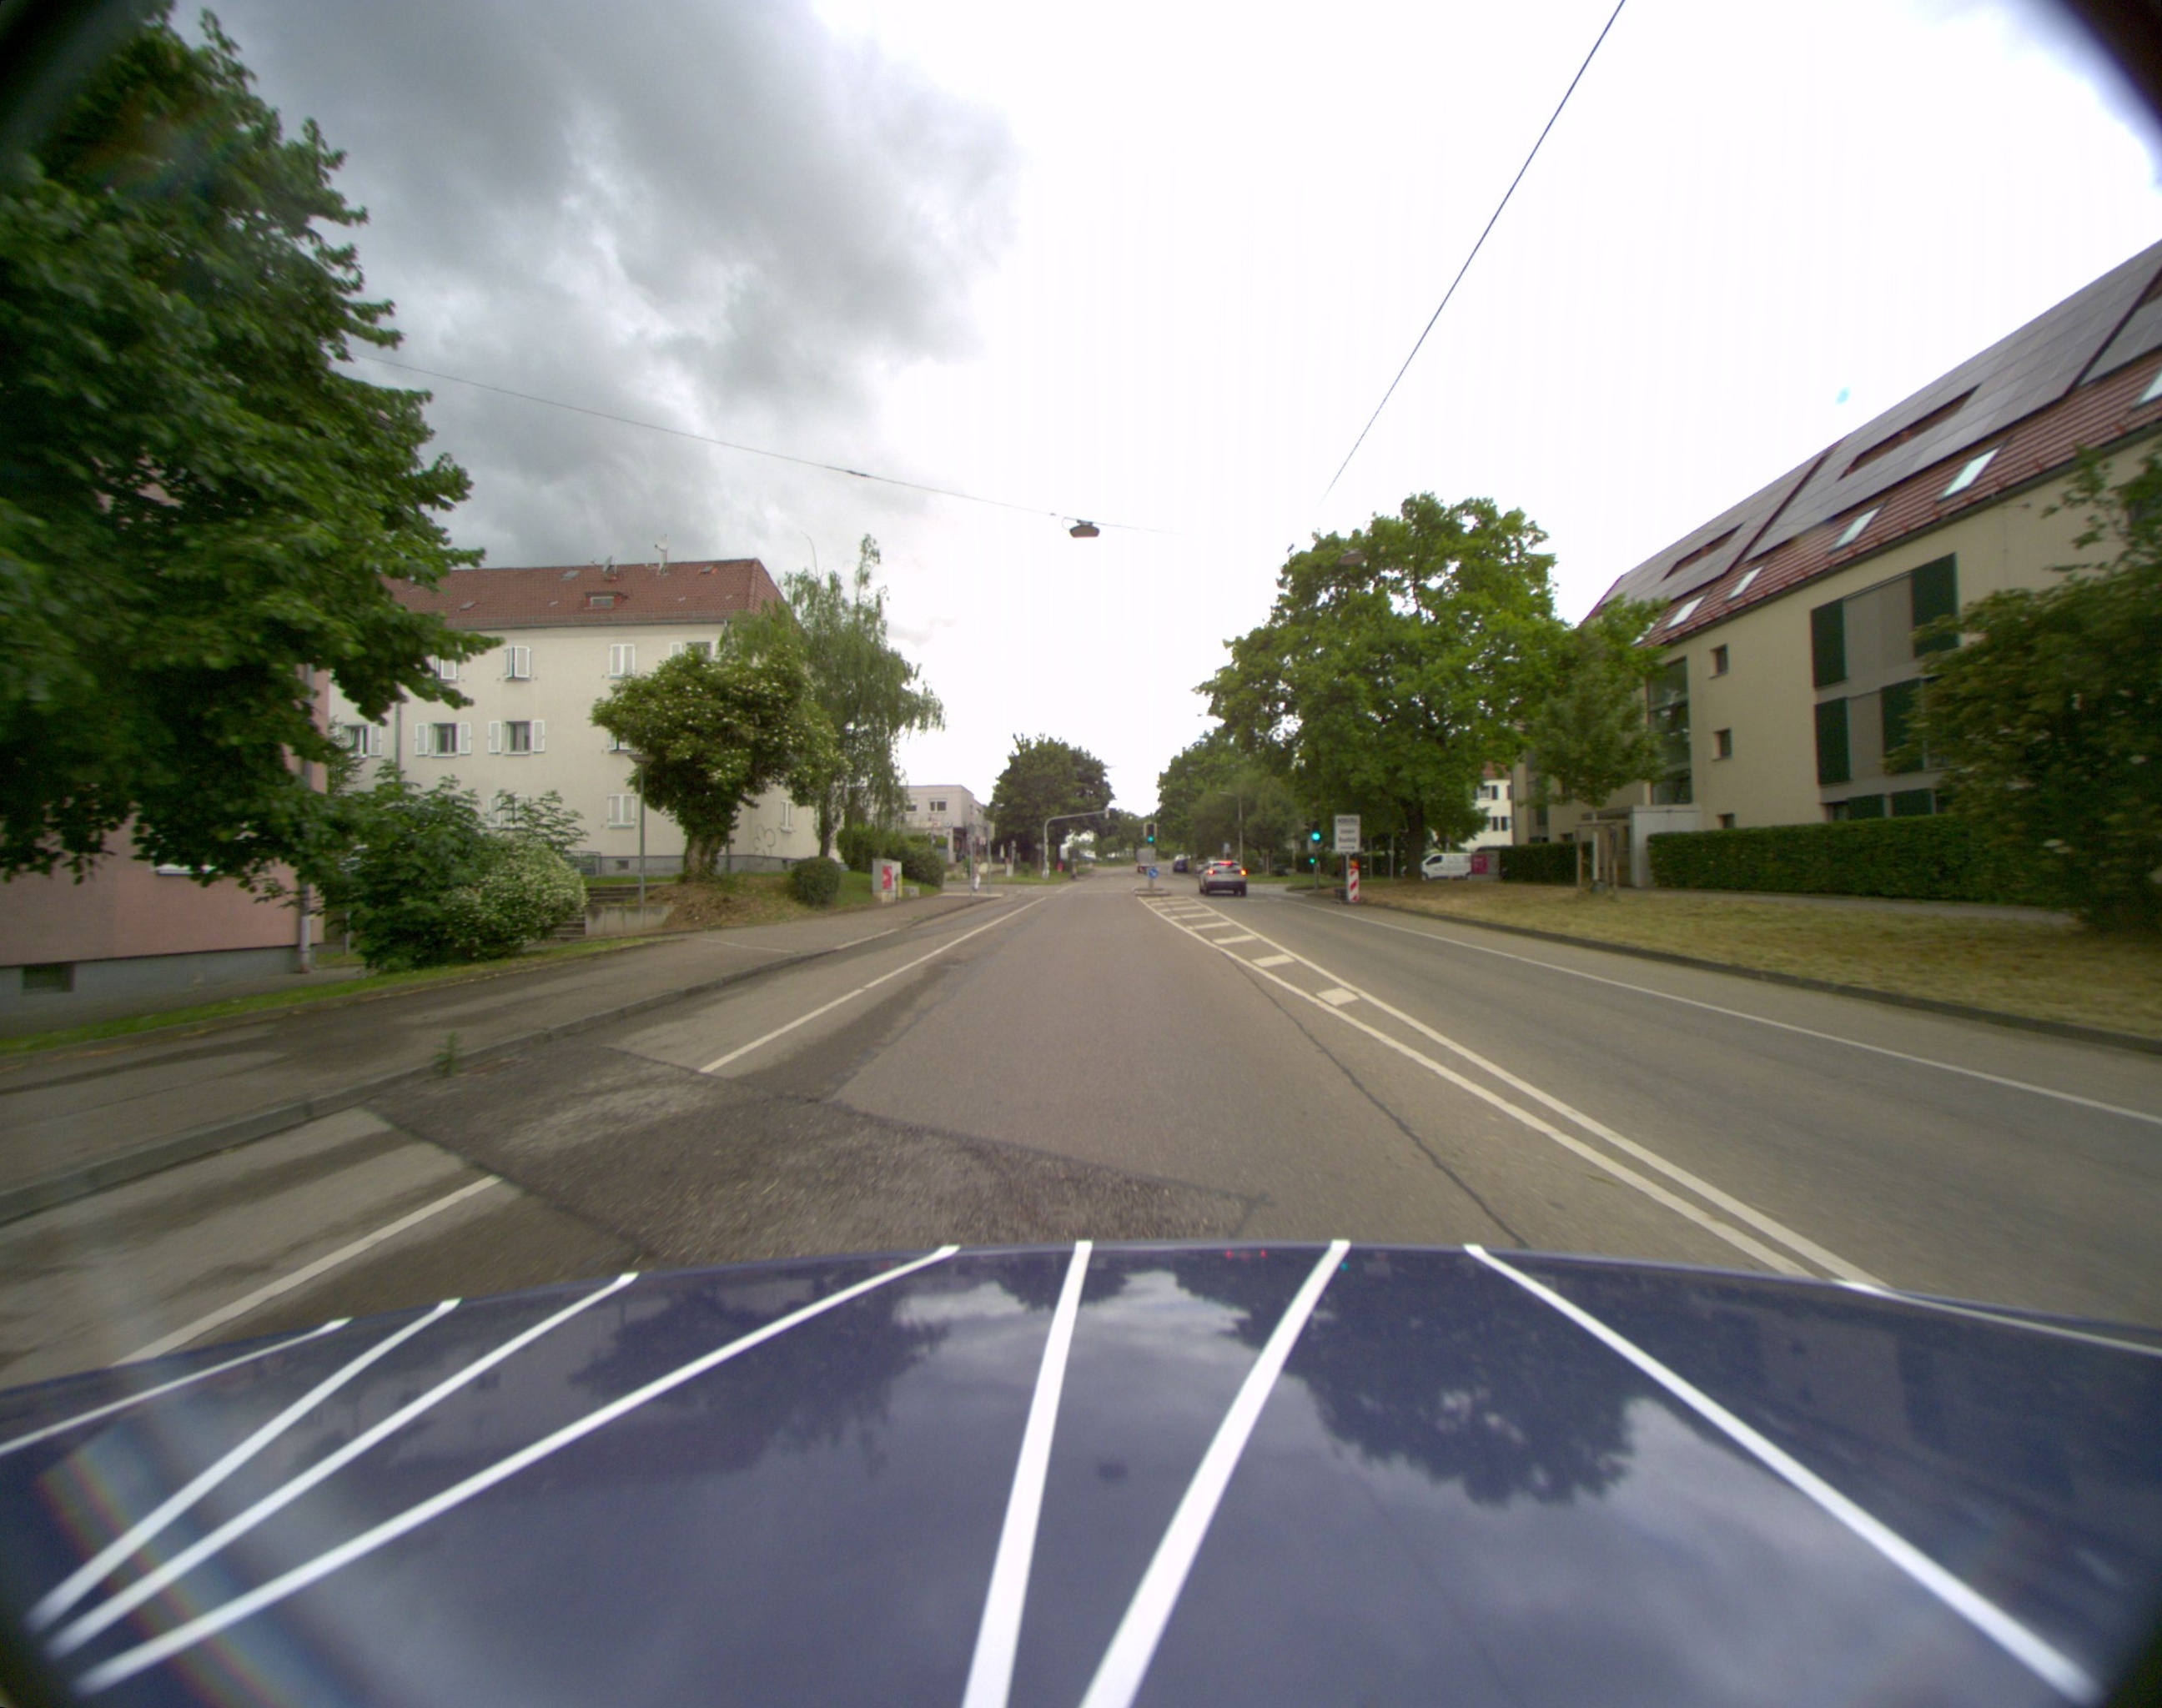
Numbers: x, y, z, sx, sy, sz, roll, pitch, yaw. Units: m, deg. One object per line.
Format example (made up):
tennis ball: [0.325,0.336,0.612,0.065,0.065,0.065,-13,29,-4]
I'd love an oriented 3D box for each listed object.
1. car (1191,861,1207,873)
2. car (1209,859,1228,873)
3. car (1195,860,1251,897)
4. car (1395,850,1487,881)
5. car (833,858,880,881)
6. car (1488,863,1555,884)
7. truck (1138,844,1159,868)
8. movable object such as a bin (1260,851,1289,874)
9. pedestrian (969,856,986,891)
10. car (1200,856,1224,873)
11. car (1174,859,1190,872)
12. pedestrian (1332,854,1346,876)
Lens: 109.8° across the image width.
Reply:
car: [14.486,1.592,93.082,1.604,1.346,4.001,-2,0,4]
car: [16.773,1.496,92.821,1.860,1.596,4.001,-2,0,4]
car: [6.078,1.009,32.901,1.806,1.455,4.030,0,0,2]
car: [23.818,0.737,50.396,5.152,1.906,2.000,-2,0,3]
car: [-16.659,1.116,56.588,1.998,1.524,4.612,-2,0,1]
car: [29.136,1.292,50.327,3.535,1.305,1.539,-2,0,4]
truck: [9.082,0.271,102.834,2.371,3.218,7.218,-1,0,2]
movable object such as a bin: [16.473,0.708,64.805,1.099,1.892,3.247,-2,0,-12]
pedestrian: [-5.033,0.935,36.931,0.658,1.674,0.575,1,-2,4]
car: [13.790,1.054,80.381,1.998,1.666,4.547,-2,0,3]
car: [13.764,1.558,103.494,1.997,1.674,4.003,-2,0,8]
pedestrian: [20.568,0.886,60.486,0.778,1.746,0.689,-2,0,-29]
